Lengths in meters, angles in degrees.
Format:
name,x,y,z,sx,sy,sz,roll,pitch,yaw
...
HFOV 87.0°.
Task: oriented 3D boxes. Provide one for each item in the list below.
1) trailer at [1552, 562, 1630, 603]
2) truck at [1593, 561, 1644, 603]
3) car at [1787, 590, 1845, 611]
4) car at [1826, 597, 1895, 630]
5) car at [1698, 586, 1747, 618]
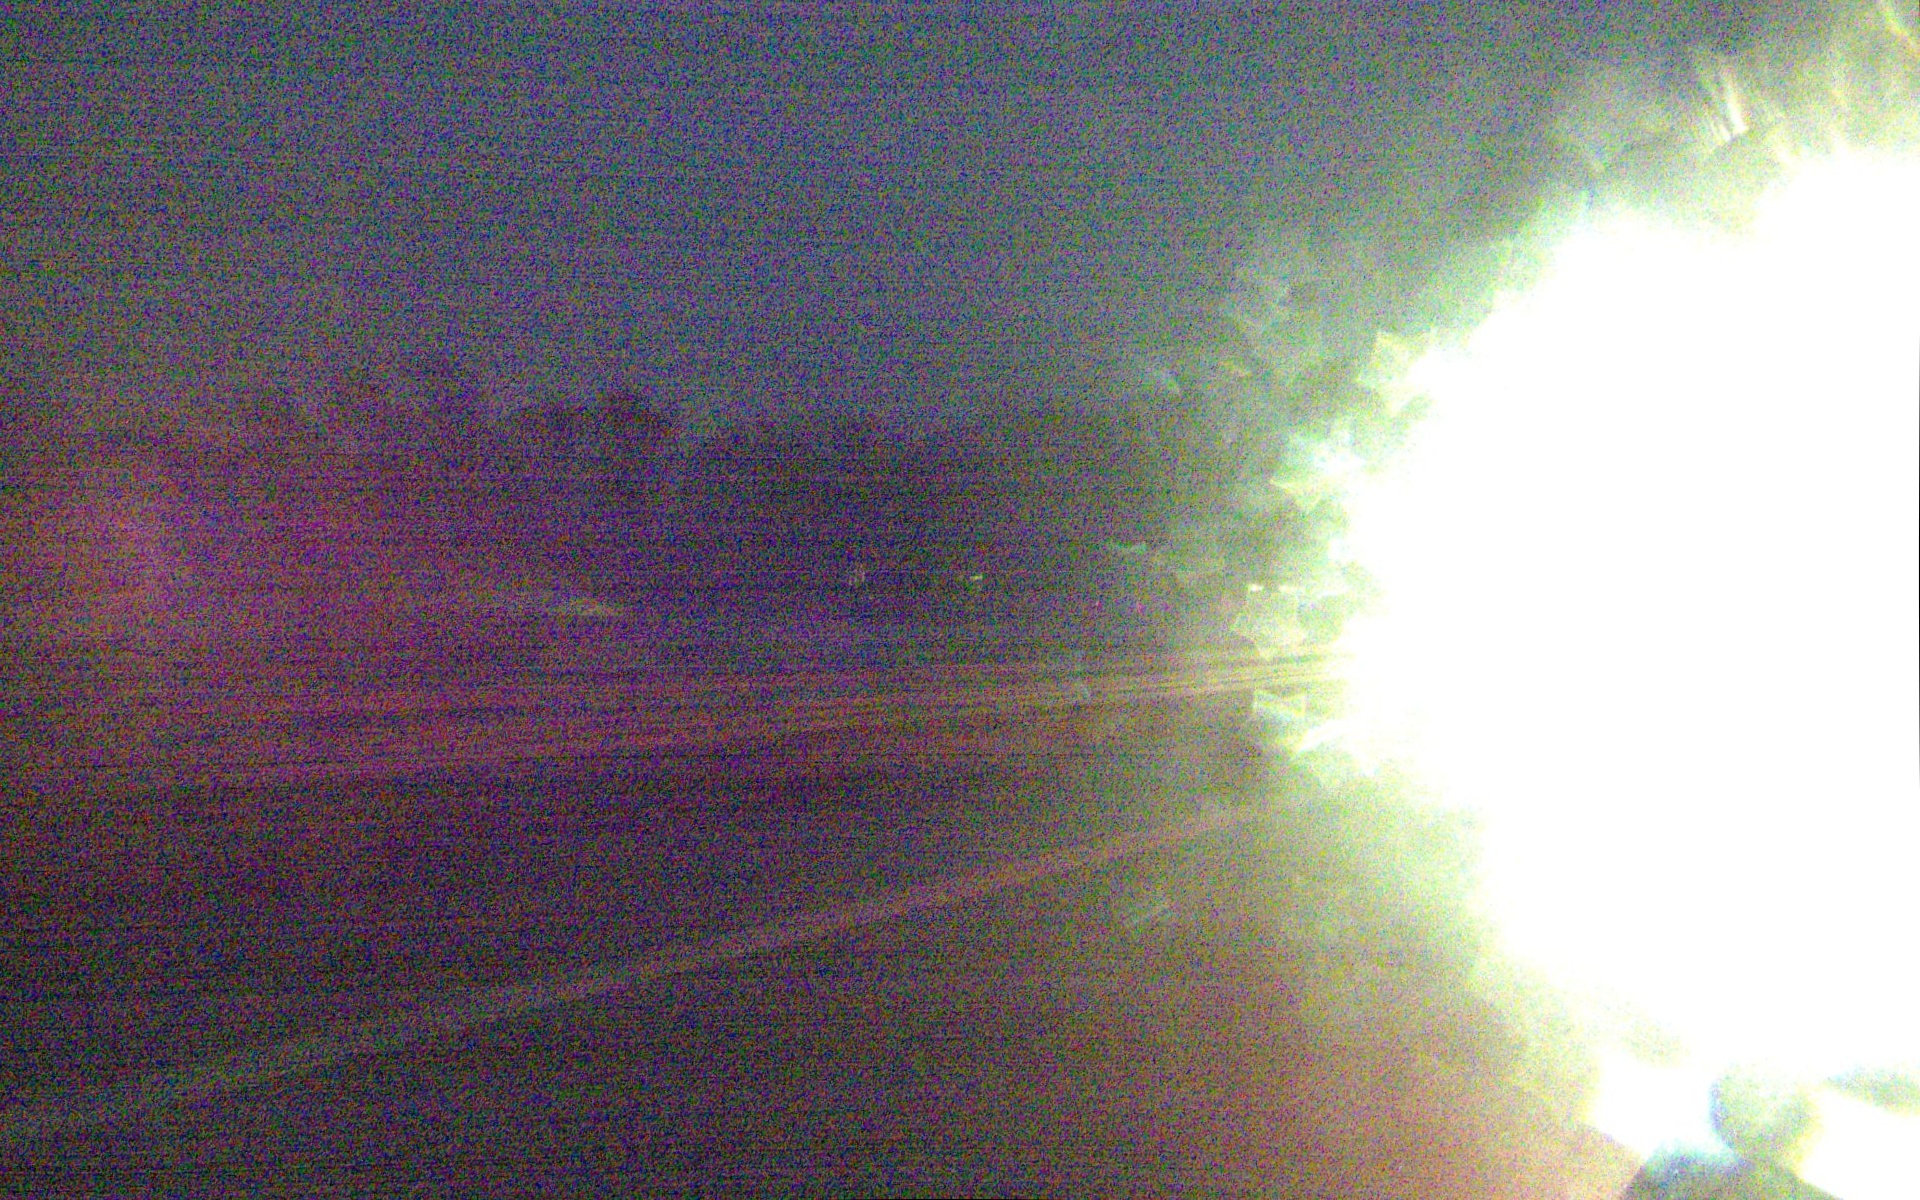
name,x,y,z,sx,sy,sz,roll,pitch,yaw
trailer,71.191,-1.936,114.579,2.499,4.391,13.670,-1,0,10
truck,70.030,-1.885,107.812,2.499,4.391,5.548,-1,0,10
car,68.029,0.048,80.491,1.762,1.672,4.039,0,-1,11
car,38.602,0.560,43.482,1.750,1.328,4.033,1,1,35
car,43.012,0.107,57.144,1.728,1.705,4.074,-2,-1,31
